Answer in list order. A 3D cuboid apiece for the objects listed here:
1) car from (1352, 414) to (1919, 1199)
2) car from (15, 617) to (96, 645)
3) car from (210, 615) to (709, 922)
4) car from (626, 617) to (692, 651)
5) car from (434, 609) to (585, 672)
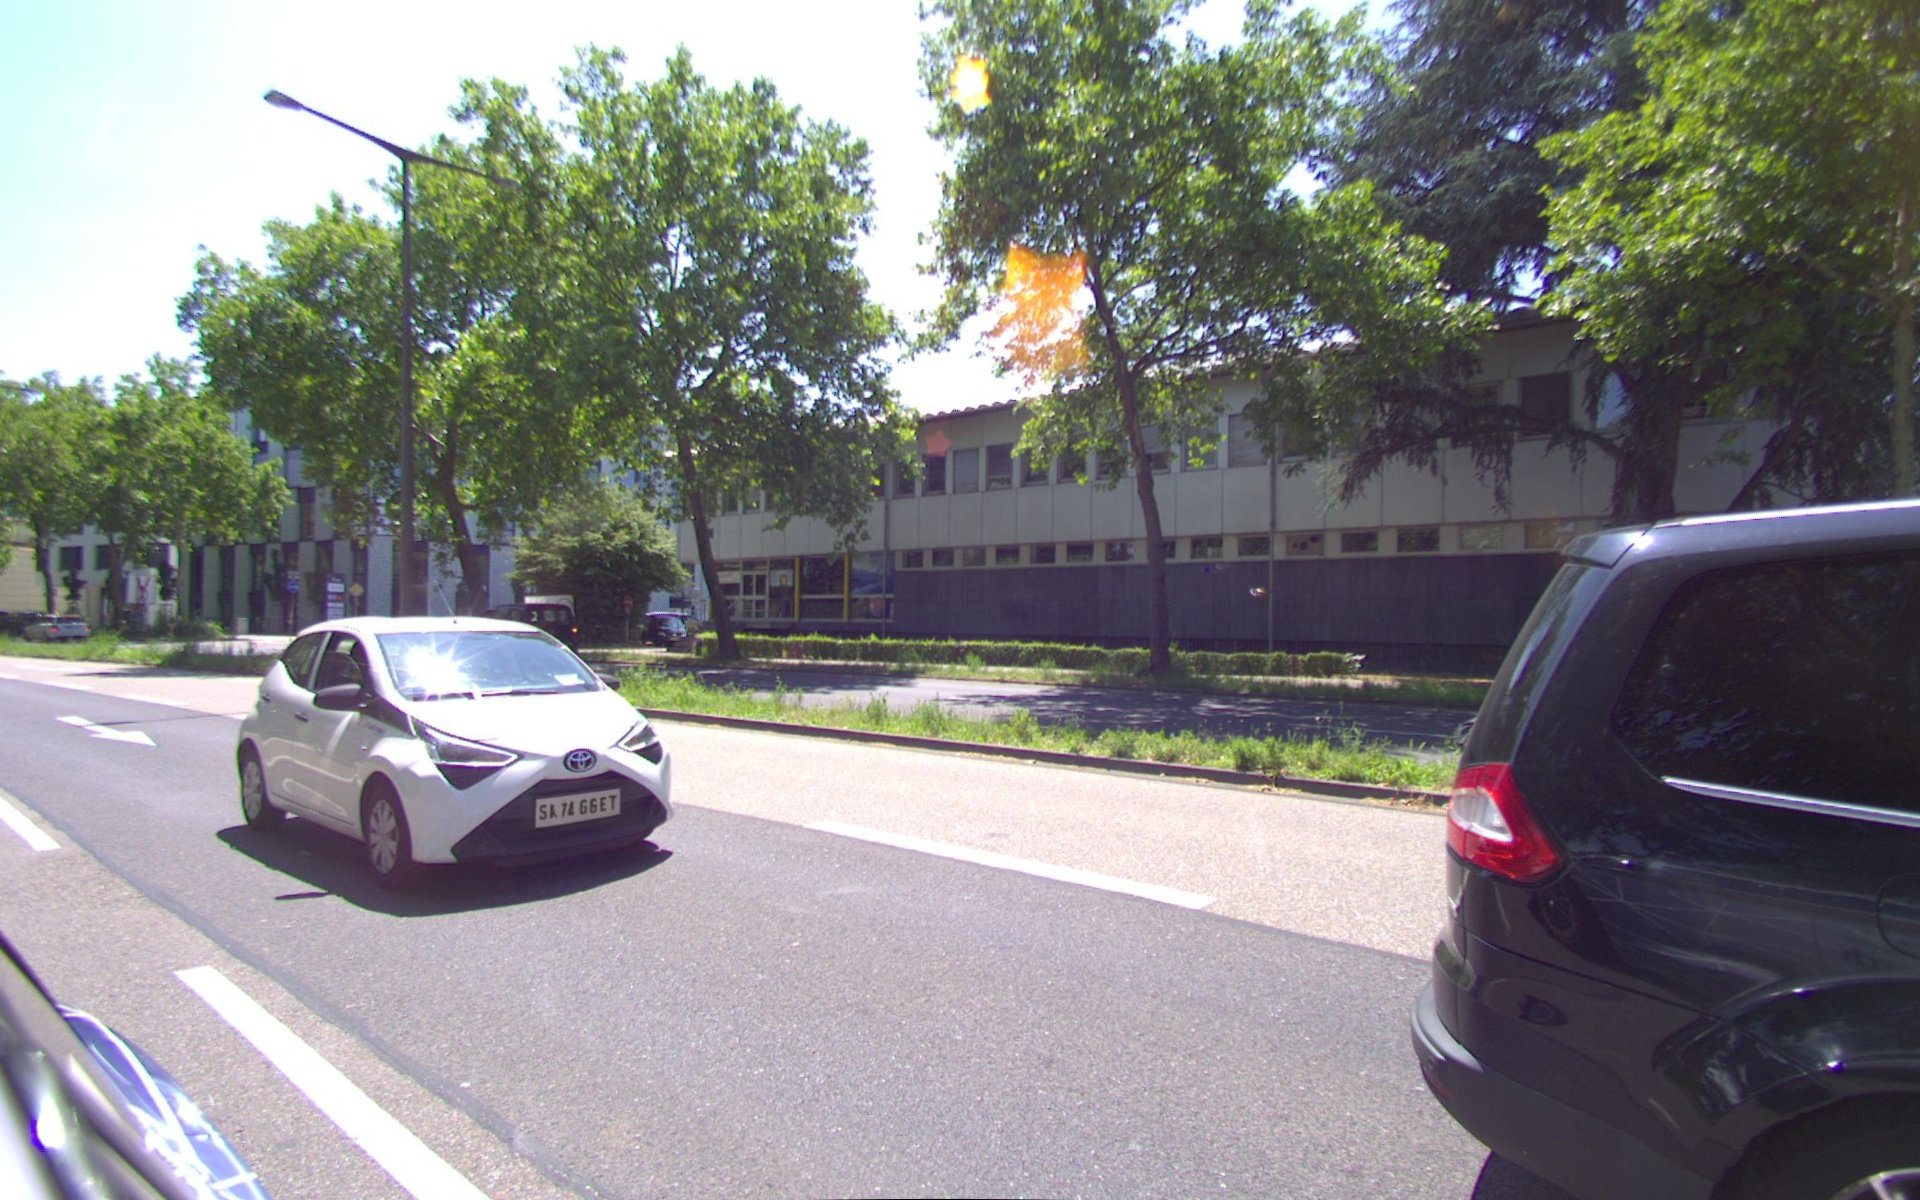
[{"bbox_3d":[3.204,0.574,1.370,4.647,1.769,1.834,-1,-1,42],"label":"car"},{"bbox_3d":[-47.087,1.609,52.666,4.530,1.429,1.840,-1,-2,31],"label":"car"},{"bbox_3d":[-3.409,0.835,6.629,3.648,1.456,1.602,-1,-1,40],"label":"car"},{"bbox_3d":[-15.985,1.772,53.763,3.526,1.660,1.796,0,0,42],"label":"car"},{"bbox_3d":[-12.956,1.129,29.048,4.431,1.692,1.896,-1,-2,33],"label":"car"}]
